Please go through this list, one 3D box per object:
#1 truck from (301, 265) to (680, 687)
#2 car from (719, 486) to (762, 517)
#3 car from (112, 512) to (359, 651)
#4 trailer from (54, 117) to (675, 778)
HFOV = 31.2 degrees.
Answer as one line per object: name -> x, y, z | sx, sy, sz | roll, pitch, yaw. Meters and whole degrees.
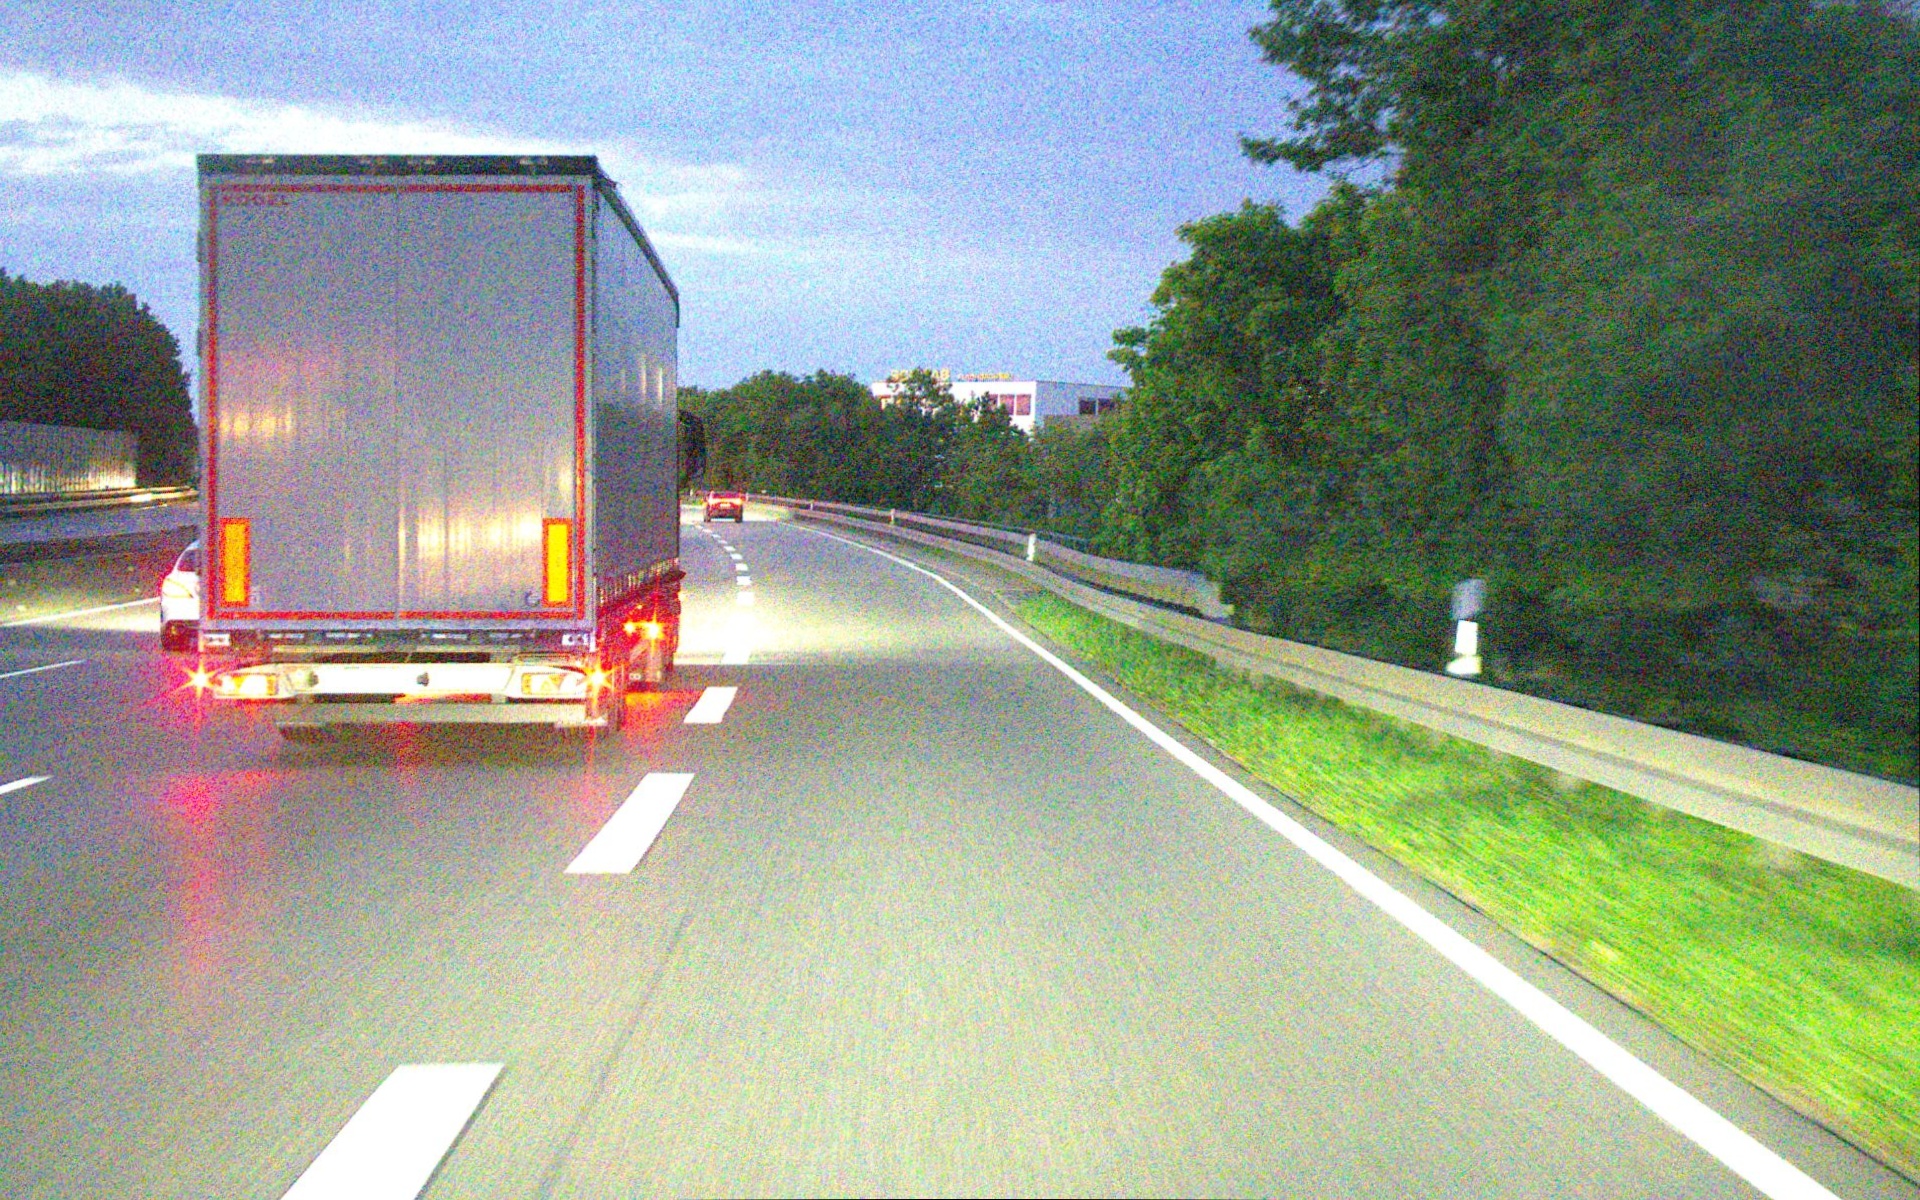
truck -> -4.801, -1.257, 36.451 | 3.550, 4.077, 6.152 | 0, 1, -4
car -> -11.264, -5.049, 176.507 | 1.993, 1.349, 4.001 | 1, -1, -6
car -> -9.001, -0.196, 43.109 | 1.906, 1.609, 4.803 | 1, -1, 2
trailer -> -4.327, -1.094, 28.979 | 3.550, 4.102, 15.066 | 0, 1, -4
